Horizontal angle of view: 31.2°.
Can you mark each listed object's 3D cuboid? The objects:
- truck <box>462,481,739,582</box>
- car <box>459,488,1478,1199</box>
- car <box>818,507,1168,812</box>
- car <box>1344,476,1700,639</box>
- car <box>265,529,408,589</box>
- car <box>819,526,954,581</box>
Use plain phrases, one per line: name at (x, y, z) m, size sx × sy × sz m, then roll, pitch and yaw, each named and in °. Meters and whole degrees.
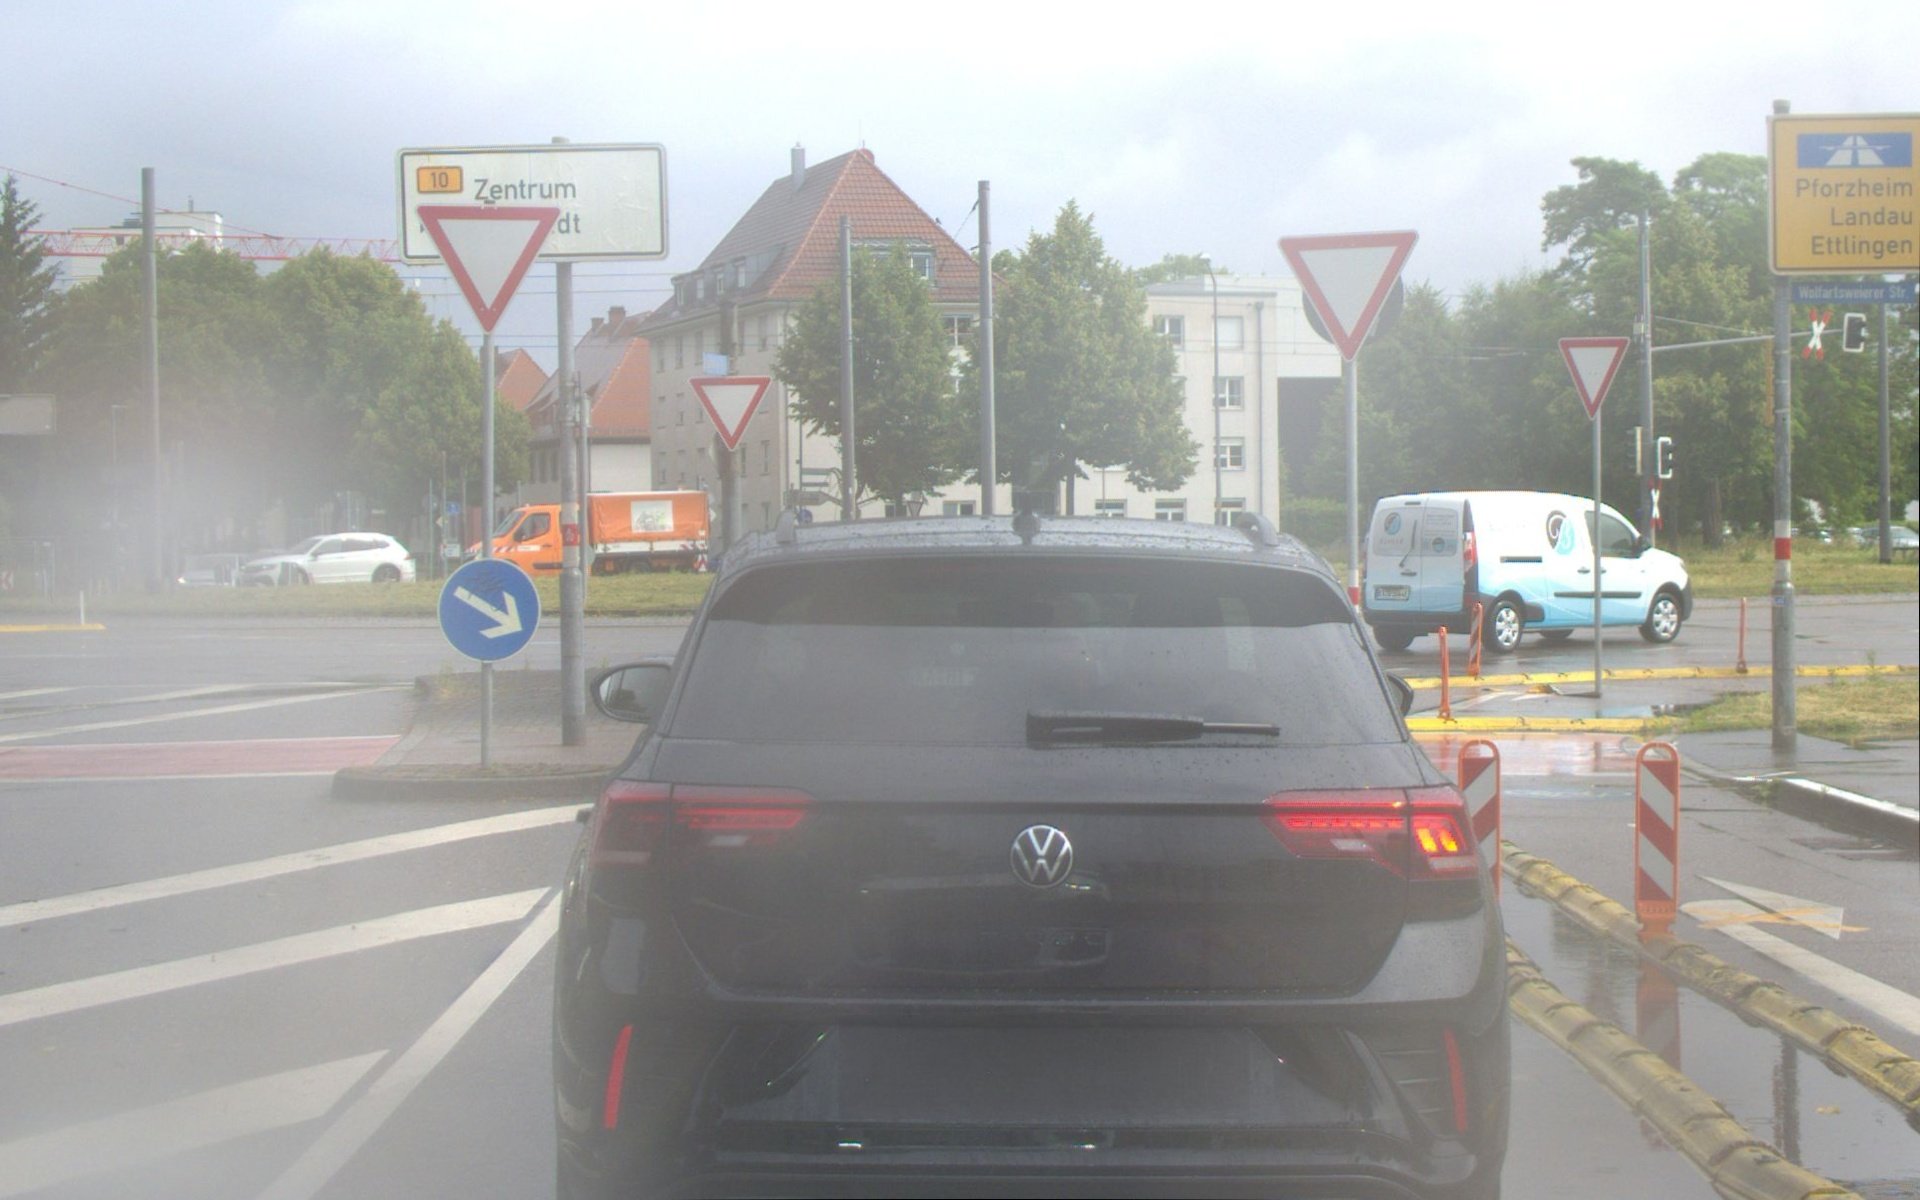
truck at (-9.724, -1.872, 93.042) m, size 7.064 × 2.641 × 2.330 m, roll -1°, pitch 1°, yaw -21°
car at (-0.084, 0.573, 7.620) m, size 1.708 × 1.568 × 3.683 m, roll 0°, pitch 1°, yaw -3°
car at (0.095, 0.253, 18.872) m, size 1.735 × 1.509 × 3.604 m, roll 0°, pitch 1°, yaw -2°
car at (6.610, -0.523, 40.150) m, size 4.392 × 1.803 × 1.869 m, roll -2°, pitch 2°, yaw -44°
car at (-16.970, -1.131, 93.578) m, size 3.495 × 1.579 × 1.567 m, roll -1°, pitch 2°, yaw -36°
car at (-2.124, -1.371, 100.455) m, size 3.872 × 1.579 × 1.567 m, roll 0°, pitch 1°, yaw 2°
